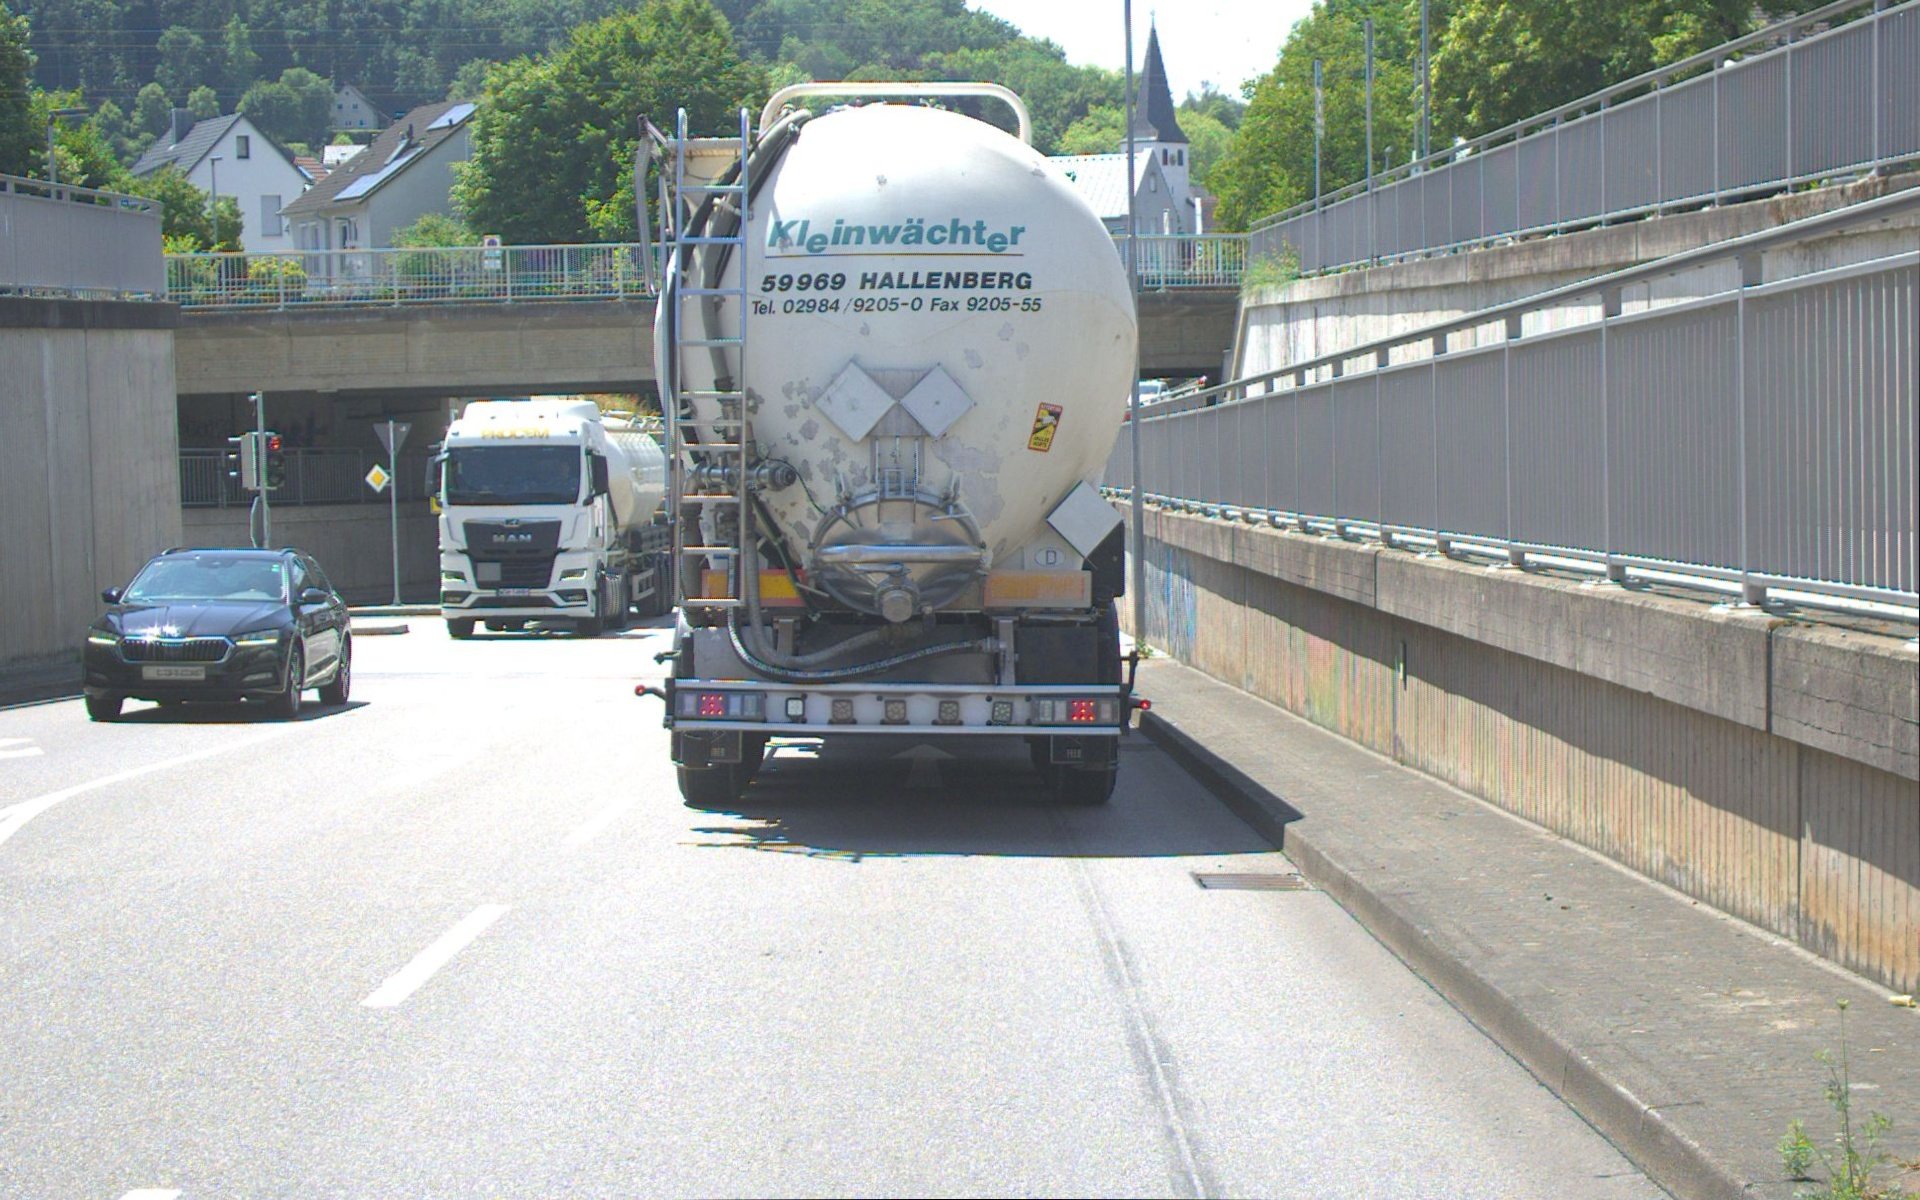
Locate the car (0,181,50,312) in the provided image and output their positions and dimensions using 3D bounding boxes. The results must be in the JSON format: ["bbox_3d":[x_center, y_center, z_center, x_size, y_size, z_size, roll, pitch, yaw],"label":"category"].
[{"bbox_3d":[-11.993,-4.158,40.282,1.618,1.495,4.045,0,4,-1],"label":"car"}]

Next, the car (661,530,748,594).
[{"bbox_3d":[-5.997,-0.907,80.960,1.682,1.436,4.094,2,1,0],"label":"car"}]

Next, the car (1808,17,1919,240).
[{"bbox_3d":[9.772,-4.241,30.875,3.905,1.878,1.686,-1,4,1],"label":"car"}]

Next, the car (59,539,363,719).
[{"bbox_3d":[-6.596,0.201,30.711,1.760,1.484,4.369,0,1,0],"label":"car"}]

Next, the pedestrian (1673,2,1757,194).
[{"bbox_3d":[7.295,-4.843,33.237,0.673,1.773,0.594,-1,4,1],"label":"pedestrian"}]

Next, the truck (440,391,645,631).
[{"bbox_3d":[-7.006,-1.484,58.514,2.662,3.847,6.580,0,1,0],"label":"truck"}]

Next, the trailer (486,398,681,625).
[{"bbox_3d":[-6.940,-1.609,64.579,2.610,3.950,9.347,0,1,0],"label":"trailer"}]

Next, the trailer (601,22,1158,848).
[{"bbox_3d":[-0.372,-0.926,23.548,2.735,4.050,13.313,0,1,0],"label":"trailer"}]

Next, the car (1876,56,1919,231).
[{"bbox_3d":[9.758,-3.807,28.451,3.905,1.362,1.686,-1,4,1],"label":"car"}]
